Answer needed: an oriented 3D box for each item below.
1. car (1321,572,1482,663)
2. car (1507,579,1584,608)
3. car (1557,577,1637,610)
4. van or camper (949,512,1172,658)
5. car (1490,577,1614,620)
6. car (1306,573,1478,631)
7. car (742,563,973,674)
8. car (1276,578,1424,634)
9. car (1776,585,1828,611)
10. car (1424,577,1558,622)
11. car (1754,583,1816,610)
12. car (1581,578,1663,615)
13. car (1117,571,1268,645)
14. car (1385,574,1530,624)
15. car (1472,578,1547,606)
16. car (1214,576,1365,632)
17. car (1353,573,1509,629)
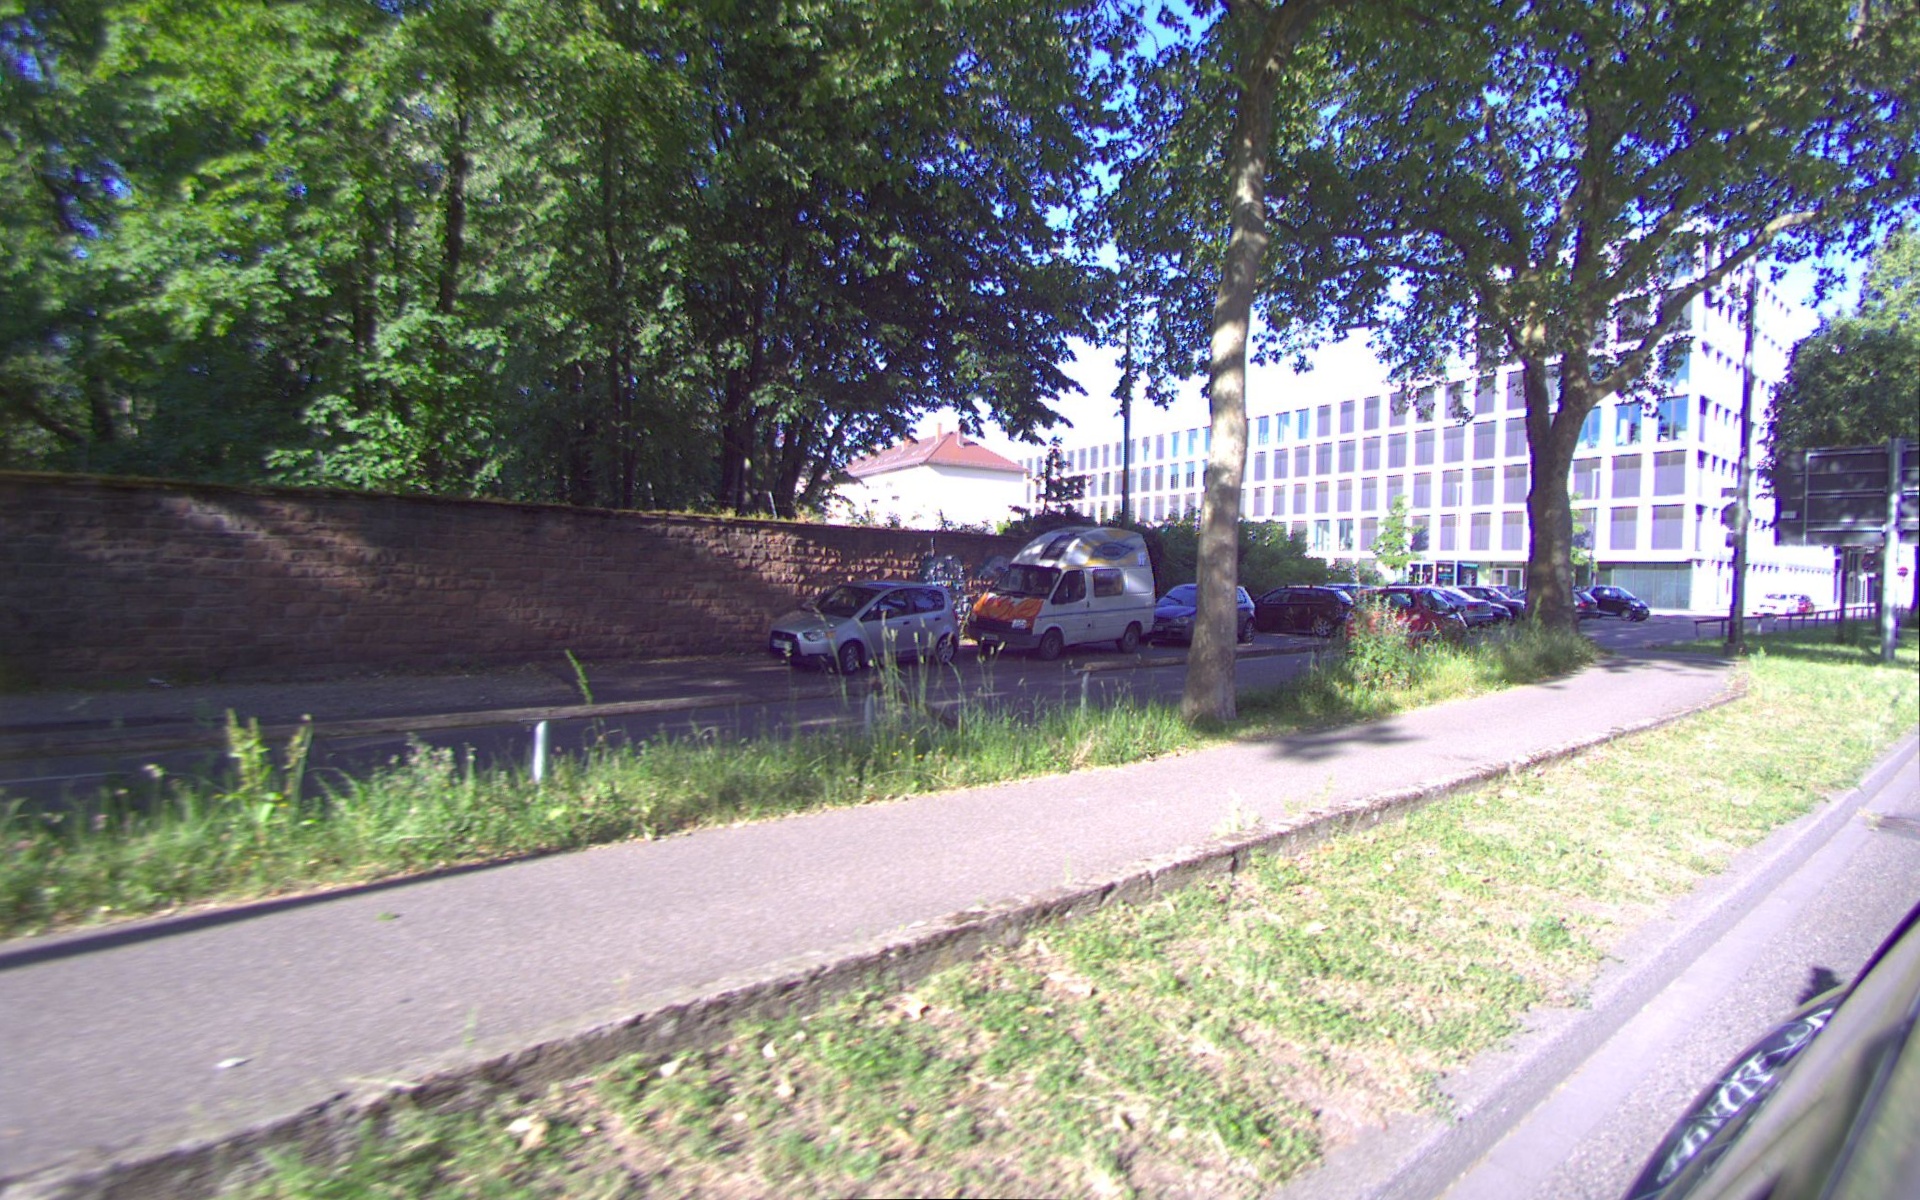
[{"bbox_3d":[9.079,0.282,20.666,1.991,1.660,3.942,0,1,40],"label":"car"},{"bbox_3d":[32.472,-0.359,56.115,3.800,1.555,1.755,-1,1,-22],"label":"car"},{"bbox_3d":[33.825,-0.324,53.745,3.739,1.565,1.602,2,2,-21],"label":"car"},{"bbox_3d":[2.269,-0.380,21.778,4.883,2.763,1.996,-1,5,-44],"label":"van or camper"},{"bbox_3d":[24.559,-0.107,42.088,1.685,1.485,4.090,-1,4,-39],"label":"car"},{"bbox_3d":[13.984,0.018,33.027,1.965,1.422,4.733,0,5,-40],"label":"car"},{"bbox_3d":[-1.727,0.254,18.134,1.837,1.637,3.945,7,5,38],"label":"car"},{"bbox_3d":[12.025,0.132,31.417,1.590,1.409,4.000,0,4,-37],"label":"car"},{"bbox_3d":[54.793,-0.160,65.858,4.198,1.503,1.869,-1,5,-41],"label":"car"},{"bbox_3d":[20.373,-0.052,38.937,1.752,1.516,4.197,0,3,-43],"label":"car"},{"bbox_3d":[51.091,-0.234,62.627,4.322,1.503,2.000,-1,5,-38],"label":"car"},{"bbox_3d":[30.557,-0.182,46.748,1.433,1.568,2.779,0,3,-31],"label":"car"},{"bbox_3d":[5.902,0.123,25.472,1.993,1.592,3.940,6,5,41],"label":"car"},{"bbox_3d":[18.124,-0.062,37.024,1.875,1.496,4.334,1,3,-44],"label":"car"},{"bbox_3d":[31.676,-0.470,58.315,3.868,1.559,1.726,-1,1,-22],"label":"car"},{"bbox_3d":[9.910,0.074,30.622,1.736,1.523,3.992,0,2,-43],"label":"car"},{"bbox_3d":[16.105,-0.006,34.789,1.963,1.427,4.396,0,6,-38],"label":"car"}]
